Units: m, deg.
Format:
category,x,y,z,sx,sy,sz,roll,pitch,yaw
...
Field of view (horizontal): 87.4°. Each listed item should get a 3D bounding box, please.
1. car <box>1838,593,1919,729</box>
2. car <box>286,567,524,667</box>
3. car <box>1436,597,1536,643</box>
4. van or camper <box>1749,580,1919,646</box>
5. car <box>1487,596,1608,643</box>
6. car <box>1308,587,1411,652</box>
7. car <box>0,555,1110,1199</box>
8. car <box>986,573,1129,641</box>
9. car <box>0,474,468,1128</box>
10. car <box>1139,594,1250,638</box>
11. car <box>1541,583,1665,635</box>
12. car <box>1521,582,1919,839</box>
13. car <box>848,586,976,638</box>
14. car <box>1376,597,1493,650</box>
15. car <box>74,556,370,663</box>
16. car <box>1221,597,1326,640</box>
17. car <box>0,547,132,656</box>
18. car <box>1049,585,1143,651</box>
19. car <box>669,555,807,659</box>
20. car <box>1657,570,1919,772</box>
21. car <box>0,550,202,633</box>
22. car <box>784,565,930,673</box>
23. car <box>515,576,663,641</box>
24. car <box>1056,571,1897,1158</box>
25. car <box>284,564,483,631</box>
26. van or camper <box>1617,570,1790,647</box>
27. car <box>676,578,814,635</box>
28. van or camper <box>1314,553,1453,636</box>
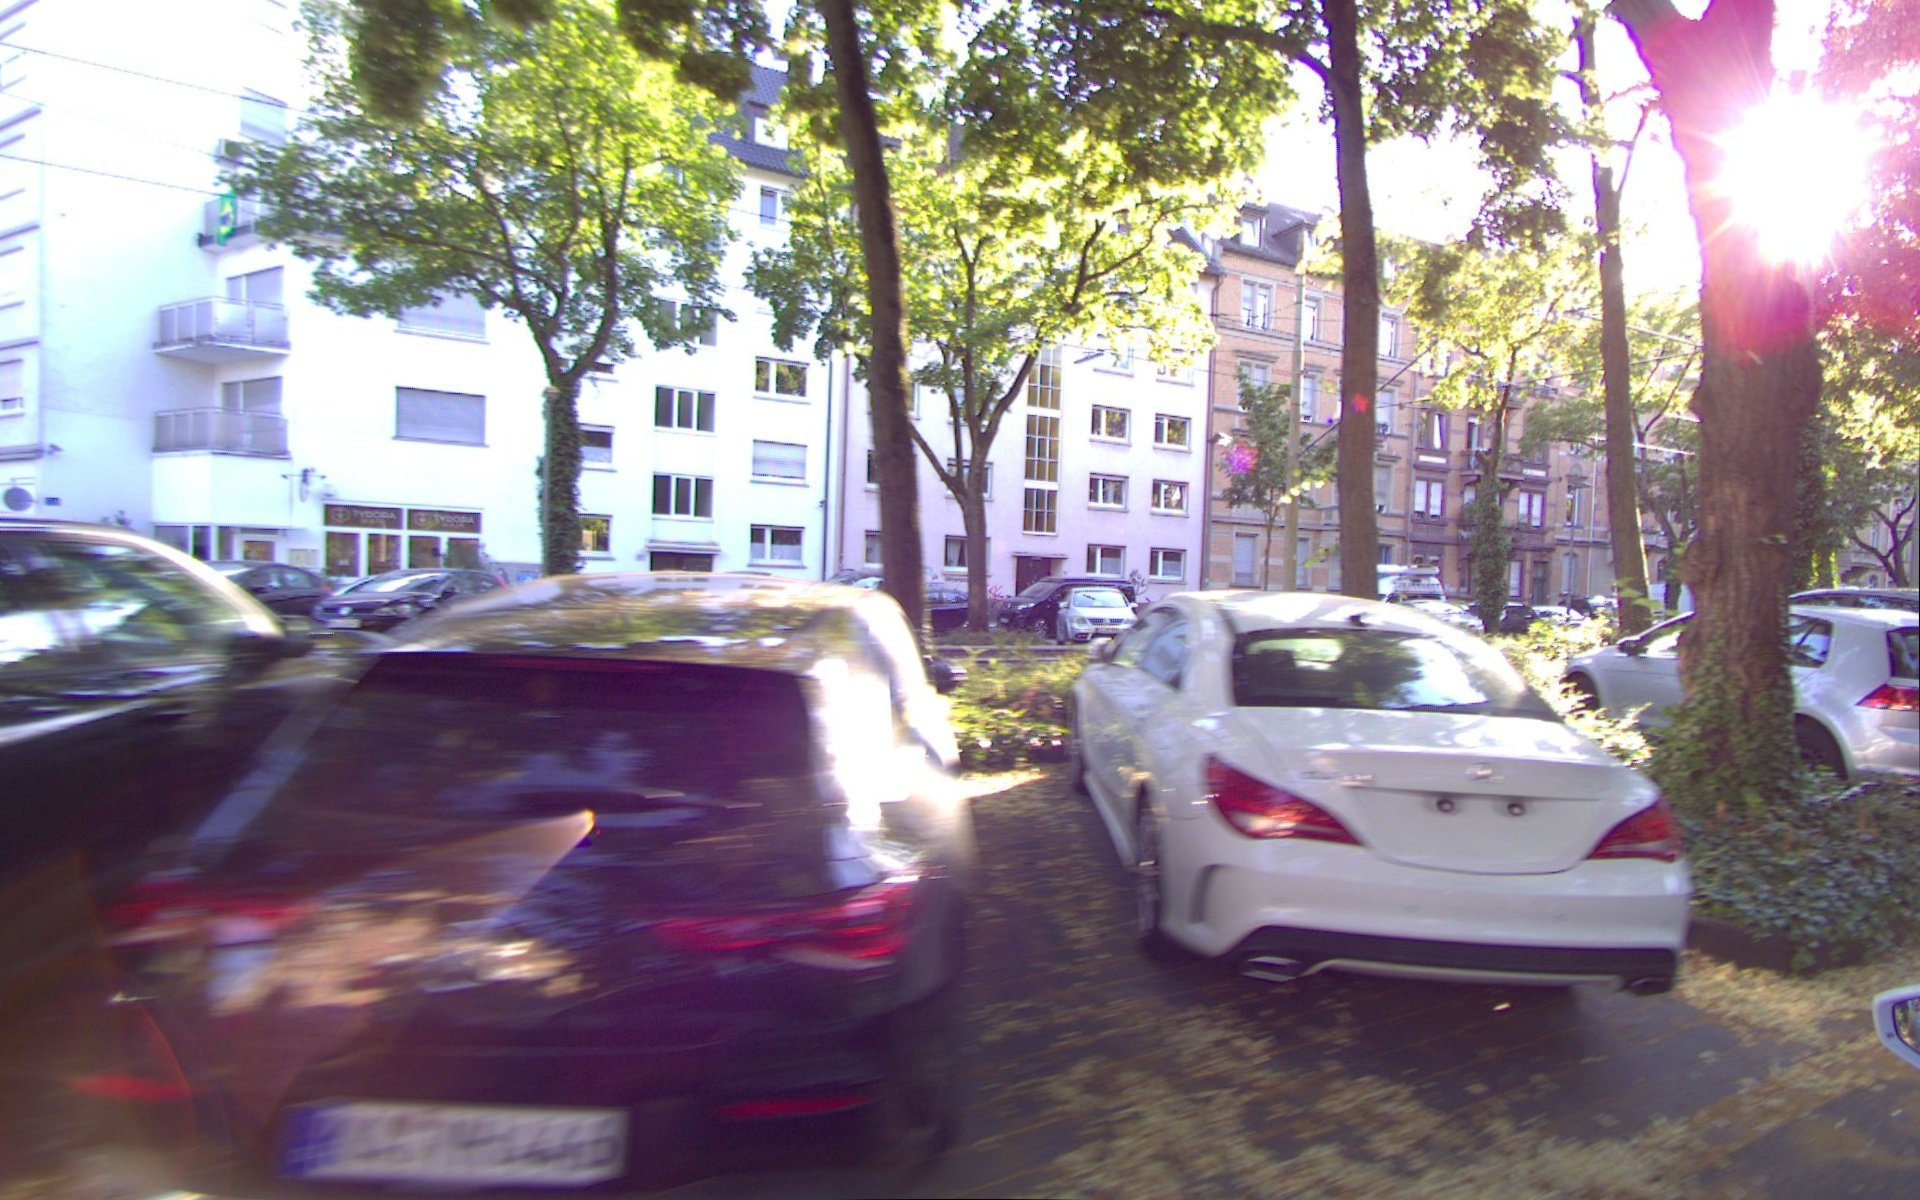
category,x,y,z,sx,sy,sz,roll,pitch,yaw
car,11.941,0.818,10.878,1.789,1.514,3.551,3,3,4
car,-9.312,0.235,17.266,1.817,1.464,3.882,2,1,2
car,22.780,0.832,43.476,3.865,1.807,1.844,0,4,-27
van or camper,34.816,0.505,40.210,2.261,2.402,5.553,1,0,3
car,19.113,0.684,32.924,1.868,1.403,4.328,1,-2,7
car,11.197,0.527,28.414,1.703,1.669,4.002,1,0,7
car,-0.734,0.614,3.713,1.710,1.423,4.311,2,3,-3
car,3.239,0.216,33.189,4.360,2.021,1.844,0,4,-27
car,-3.250,0.400,2.940,1.923,1.533,3.996,2,3,-5
car,8.447,0.559,36.211,3.462,1.423,1.844,0,4,-27
car,21.486,0.292,33.776,1.868,1.603,4.327,1,0,8
car,6.880,0.717,8.512,1.820,1.460,4.243,3,3,0
car,-1.480,0.359,30.871,3.462,1.423,1.844,0,4,-27
car,13.932,0.657,29.755,1.767,1.400,4.001,1,0,4
car,-11.636,0.108,16.217,1.817,1.464,3.882,2,1,2
car,11.883,0.682,38.056,3.462,1.423,1.844,0,4,-27
car,-14.333,-0.003,14.330,1.555,1.539,4.001,2,-1,3
car,3.278,0.373,24.857,1.737,1.446,3.999,2,1,0
car,-4.372,0.130,20.441,1.777,1.842,4.320,1,0,1
car,9.350,0.654,9.978,1.821,1.685,4.038,3,3,-2
car,-18.829,-0.200,21.406,3.976,1.600,1.844,0,4,-27
car,-2.073,0.368,21.779,1.959,2.040,4.822,1,0,9
car,-9.720,0.198,26.317,3.462,1.512,1.844,0,4,-27
car,1.600,0.667,4.965,1.820,1.423,4.465,2,3,1
car,-13.640,-0.072,24.054,3.976,1.423,1.844,0,4,-27
van or camper,26.588,0.297,36.240,1.961,2.501,5.677,1,0,0
car,-6.076,0.172,28.401,3.462,1.423,1.844,0,4,-27
van or camper,17.111,-0.201,40.542,5.443,3.151,2.066,1,1,-27
